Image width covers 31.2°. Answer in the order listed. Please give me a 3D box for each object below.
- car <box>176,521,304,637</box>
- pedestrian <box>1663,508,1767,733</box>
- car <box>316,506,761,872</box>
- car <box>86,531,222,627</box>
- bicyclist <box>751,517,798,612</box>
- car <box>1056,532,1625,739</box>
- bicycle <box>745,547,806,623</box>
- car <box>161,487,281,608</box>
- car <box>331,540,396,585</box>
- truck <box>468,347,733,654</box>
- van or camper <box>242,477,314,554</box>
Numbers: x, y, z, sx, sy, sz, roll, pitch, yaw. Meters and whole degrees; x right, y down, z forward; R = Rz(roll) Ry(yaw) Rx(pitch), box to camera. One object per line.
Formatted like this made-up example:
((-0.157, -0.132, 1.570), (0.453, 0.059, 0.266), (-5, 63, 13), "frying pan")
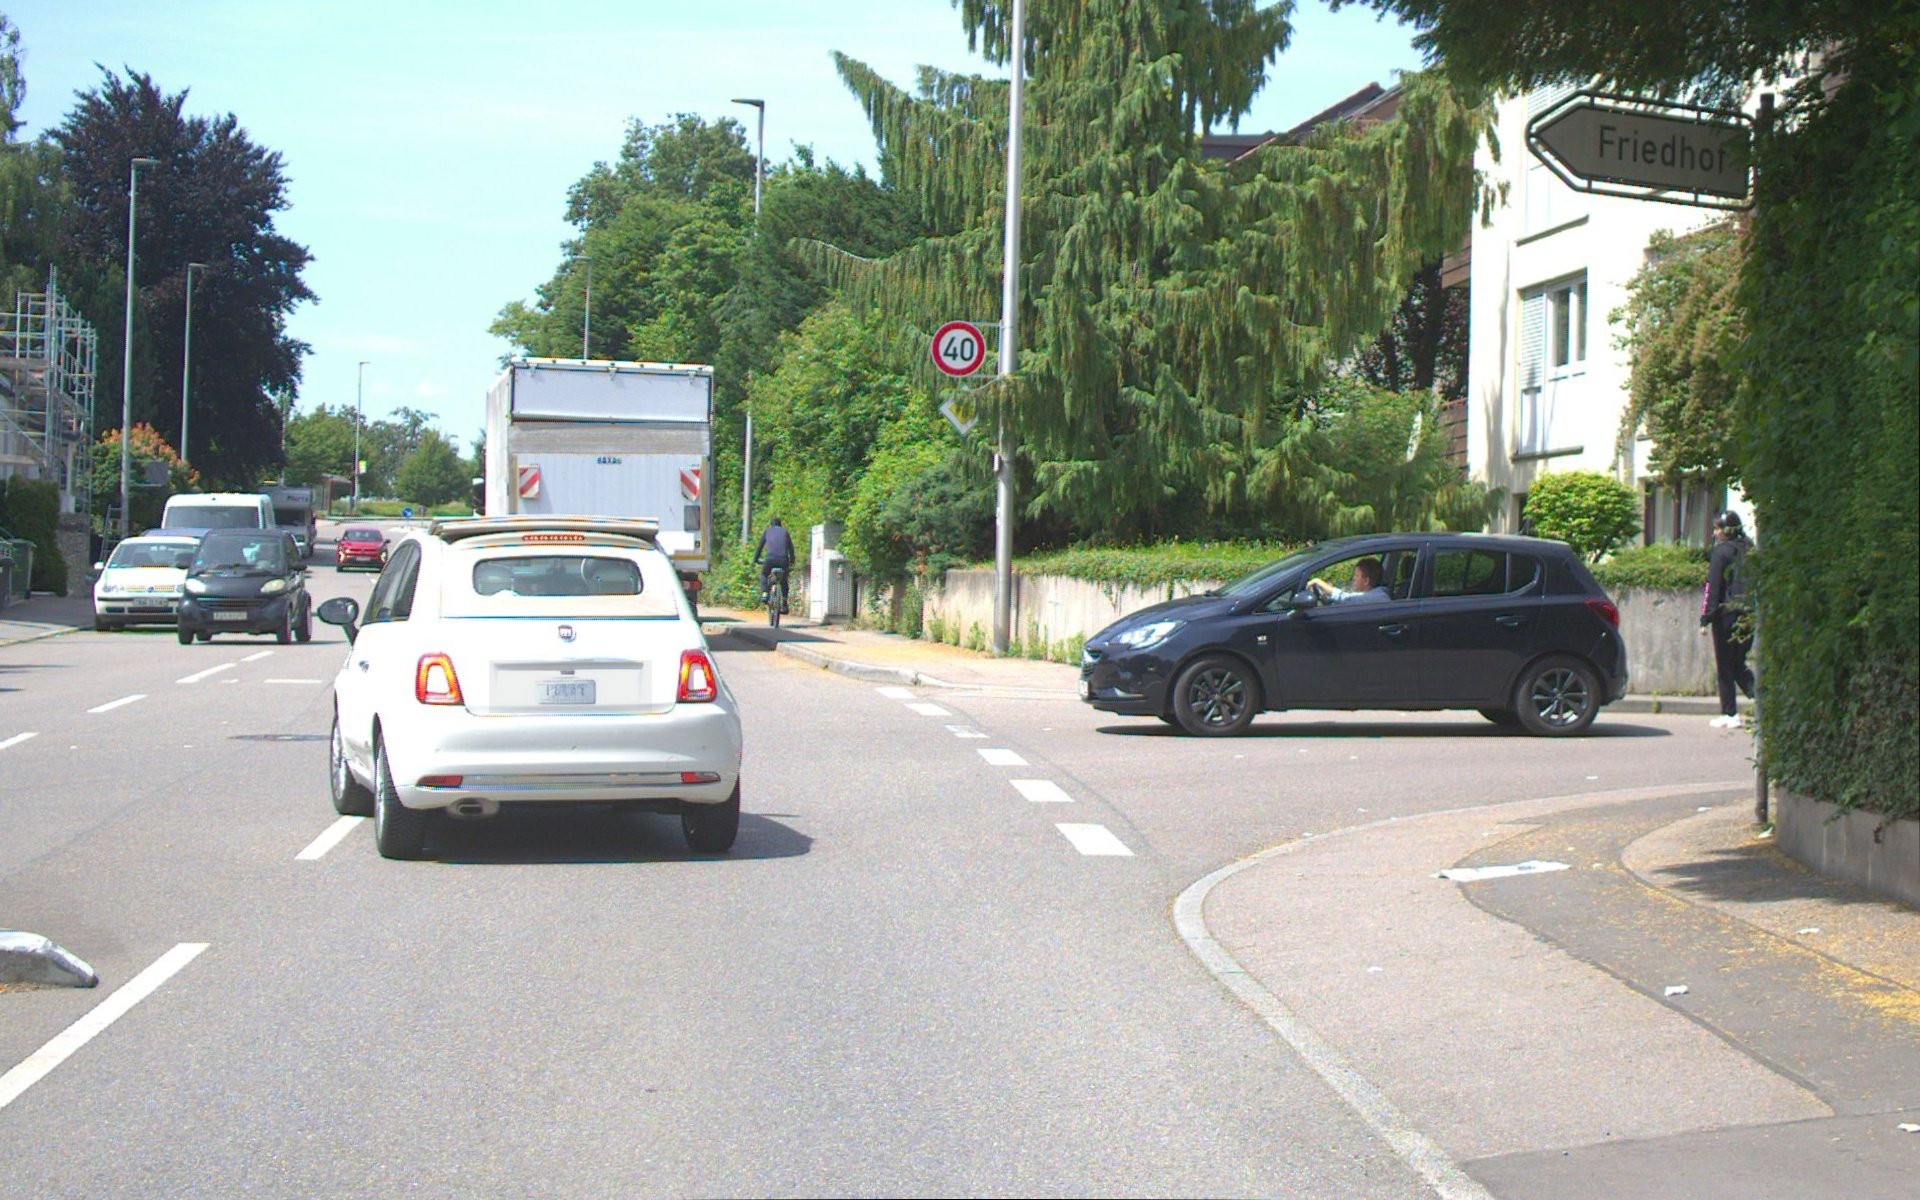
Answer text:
((-9.679, -0.305, 46.333), (1.480, 1.505, 2.801), (0, 1, -8), "car")
((5.737, 0.145, 26.122), (0.697, 1.666, 0.569), (2, 2, 16), "pedestrian")
((-2.178, 0.333, 16.833), (1.724, 1.555, 4.001), (-1, 1, -13), "car")
((-12.313, -0.350, 52.684), (1.804, 1.393, 4.001), (1, 1, -10), "car")
((-2.796, -0.540, 51.693), (0.588, 1.408, 0.742), (2, 1, -8), "bicyclist")
((2.759, 0.239, 25.429), (3.933, 1.453, 1.659), (0, 1, -4), "car")
((-2.801, -0.243, 52.078), (0.668, 1.100, 2.426), (2, 1, -8), "bicycle")
((-14.115, -1.025, 65.917), (2.036, 2.192, 5.584), (1, 1, -10), "car")
((-21.434, -1.363, 123.682), (1.833, 1.529, 4.001), (2, 1, -3), "car")
((-4.999, -1.284, 46.487), (3.067, 3.761, 7.870), (0, 1, -9), "truck")
((-27.425, -3.391, 138.384), (2.264, 2.952, 5.890), (2, 1, -6), "van or camper")
